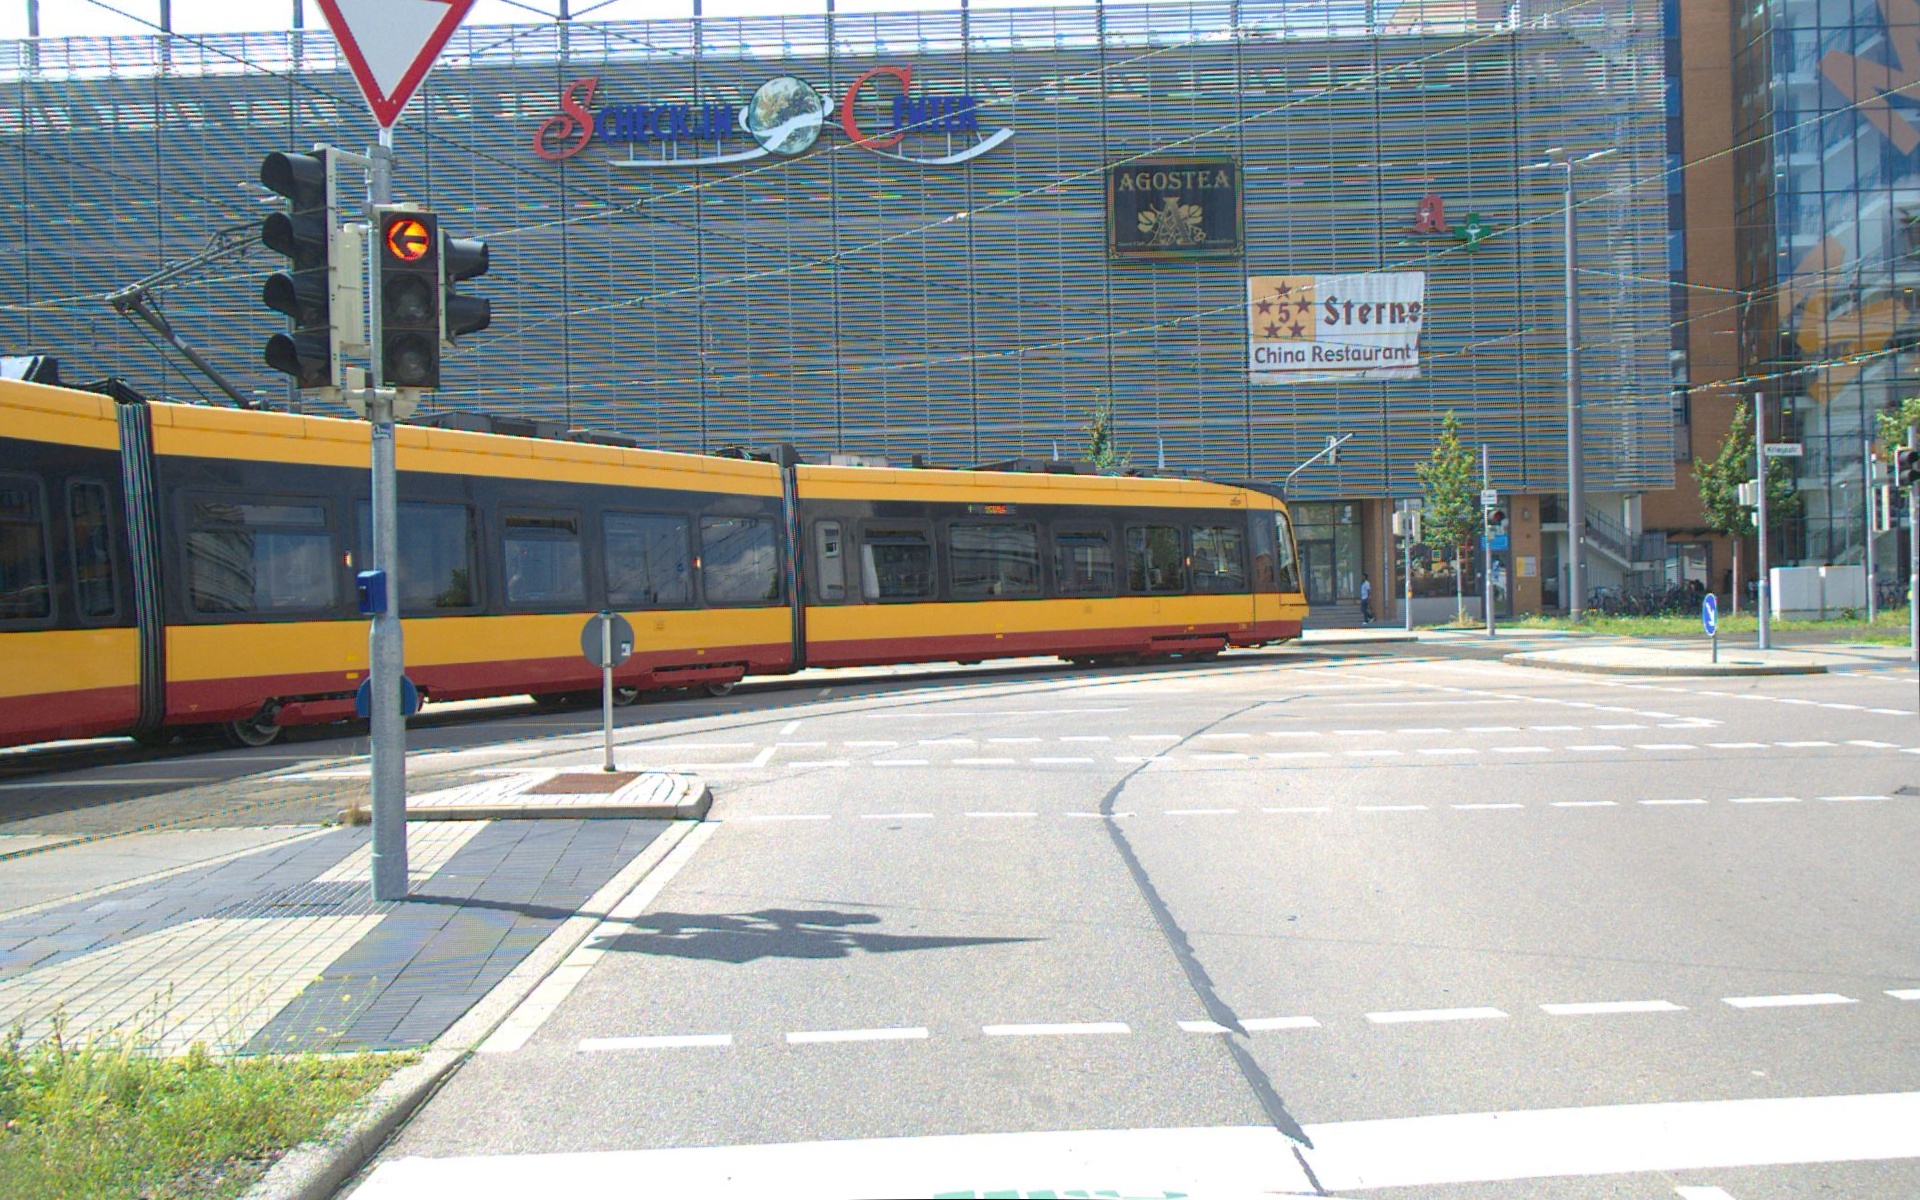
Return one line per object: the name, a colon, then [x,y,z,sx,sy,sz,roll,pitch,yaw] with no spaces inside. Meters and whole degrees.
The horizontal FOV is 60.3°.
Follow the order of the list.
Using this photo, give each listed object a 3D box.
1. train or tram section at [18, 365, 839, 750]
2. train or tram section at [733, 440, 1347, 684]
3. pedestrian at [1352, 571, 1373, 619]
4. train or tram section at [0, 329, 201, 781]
train or tram section: [-5.845,-0.478,21.310,2.998,3.666,10.974,0,1,29]
train or tram section: [1.992,-0.663,30.175,12.517,3.684,3.021,-1,1,-40]
pedestrian: [14.861,-0.189,61.036,0.605,1.776,0.629,0,0,1]
train or tram section: [-9.974,-0.284,9.544,3.147,3.662,13.513,-1,0,9]
